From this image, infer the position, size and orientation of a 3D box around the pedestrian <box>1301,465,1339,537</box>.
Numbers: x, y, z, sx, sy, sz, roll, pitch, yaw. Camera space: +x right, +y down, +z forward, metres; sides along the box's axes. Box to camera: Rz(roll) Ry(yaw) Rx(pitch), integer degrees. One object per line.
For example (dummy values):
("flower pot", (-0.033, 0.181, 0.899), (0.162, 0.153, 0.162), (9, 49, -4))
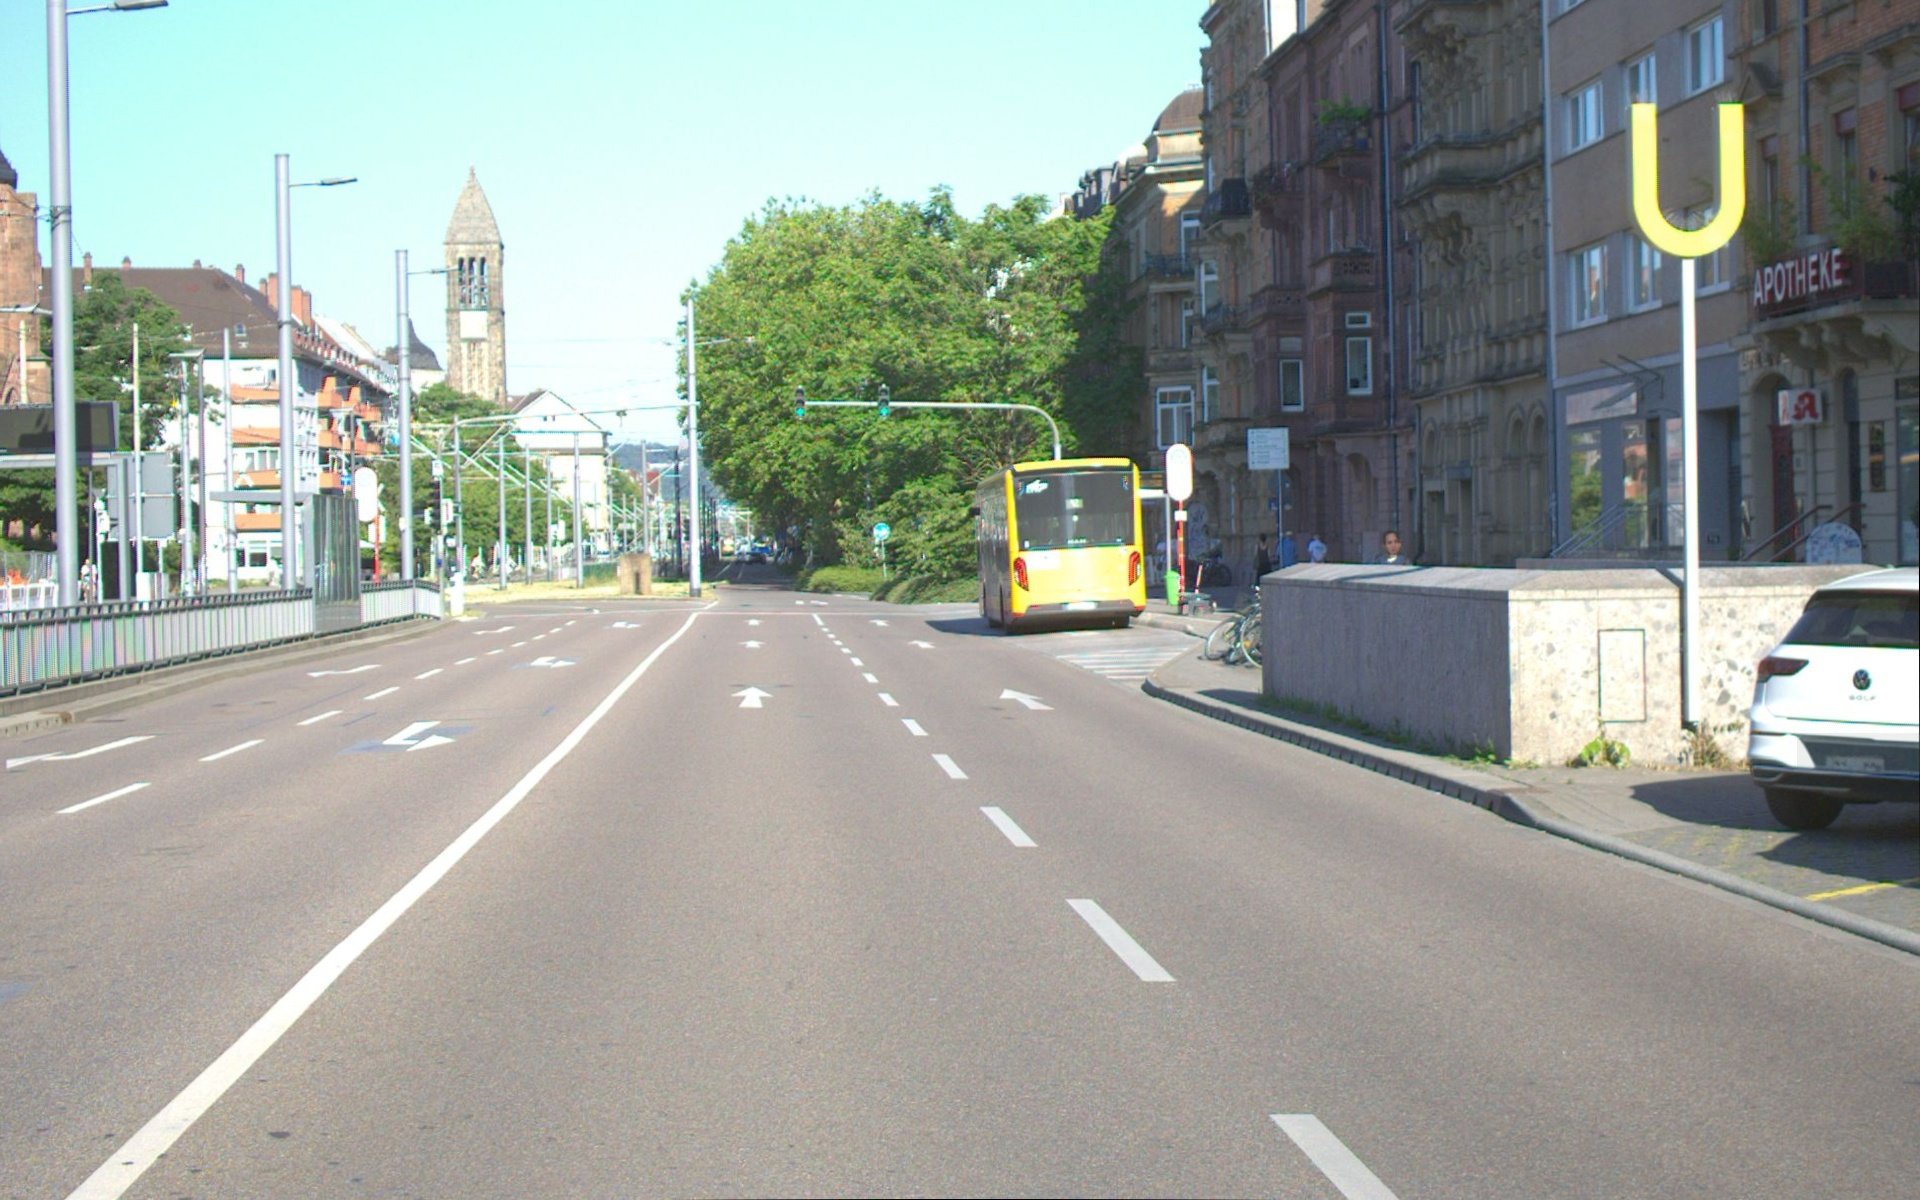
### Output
("pedestrian", (9.741, -2.683, 93.029), (0.822, 1.923, 1.137), (-1, 1, -3))

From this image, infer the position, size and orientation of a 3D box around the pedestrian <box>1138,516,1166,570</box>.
("pedestrian", (5.943, -1.757, 106.642), (0.702, 1.650, 1.137), (-1, 1, -4))

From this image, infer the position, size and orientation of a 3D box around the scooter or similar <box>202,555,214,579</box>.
("scooter or similar", (-42.115, -1.876, 192.614), (0.401, 1.256, 1.231), (-2, 4, -3))

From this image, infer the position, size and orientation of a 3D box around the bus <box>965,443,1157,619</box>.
("bus", (1.901, -1.420, 70.528), (2.715, 3.170, 12.543), (-2, 1, -3))

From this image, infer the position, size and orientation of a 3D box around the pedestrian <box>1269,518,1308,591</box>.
("pedestrian", (8.880, -1.231, 92.987), (0.822, 1.923, 1.137), (-1, 1, -3))

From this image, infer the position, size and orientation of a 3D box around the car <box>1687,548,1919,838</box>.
("car", (6.090, 0.434, 19.332), (4.102, 1.459, 1.960), (-2, 1, -45))

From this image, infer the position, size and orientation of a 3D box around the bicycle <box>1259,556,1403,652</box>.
("bicycle", (4.711, 0.045, 43.677), (1.765, 1.183, 0.470), (-1, 2, -3))

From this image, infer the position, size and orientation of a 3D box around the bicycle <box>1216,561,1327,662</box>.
("bicycle", (3.737, 0.126, 41.364), (0.468, 1.143, 1.771), (-1, 2, -26))

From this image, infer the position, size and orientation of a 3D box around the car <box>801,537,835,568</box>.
("car", (-7.276, -2.435, 176.242), (1.643, 1.506, 4.183), (-2, 2, -3))

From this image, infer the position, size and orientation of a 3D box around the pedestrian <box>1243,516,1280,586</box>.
("pedestrian", (8.353, -1.365, 95.177), (0.822, 1.923, 1.137), (-1, 1, -3))

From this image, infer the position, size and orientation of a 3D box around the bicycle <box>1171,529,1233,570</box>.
("bicycle", (7.860, -1.637, 111.740), (1.883, 1.234, 0.491), (-3, 0, -15))

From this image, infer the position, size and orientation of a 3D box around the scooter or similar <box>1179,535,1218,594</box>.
("scooter or similar", (5.170, -0.760, 74.664), (0.431, 1.245, 1.295), (-3, 0, -13))

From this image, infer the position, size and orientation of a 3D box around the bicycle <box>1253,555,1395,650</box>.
("bicycle", (4.675, 0.029, 44.196), (1.765, 1.183, 0.470), (-1, 2, -3))

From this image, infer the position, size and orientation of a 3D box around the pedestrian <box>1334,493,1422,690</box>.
("pedestrian", (4.404, -0.098, 36.265), (0.750, 2.006, 0.698), (-2, 4, -3))

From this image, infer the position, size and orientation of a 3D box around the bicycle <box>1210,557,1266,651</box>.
("bicycle", (3.557, 0.041, 44.063), (0.468, 1.143, 1.771), (-1, 2, -3))

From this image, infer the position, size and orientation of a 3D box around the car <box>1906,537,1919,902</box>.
("car", (6.232, 0.496, 15.671), (1.959, 1.565, 4.241), (1, 2, 43))

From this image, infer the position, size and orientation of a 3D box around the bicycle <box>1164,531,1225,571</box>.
("bicycle", (7.693, -1.606, 112.888), (1.883, 1.234, 0.491), (-3, 0, -15))

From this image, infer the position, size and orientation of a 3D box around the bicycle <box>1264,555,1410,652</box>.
("bicycle", (4.735, 0.046, 43.171), (1.765, 1.183, 0.470), (-1, 2, -3))
